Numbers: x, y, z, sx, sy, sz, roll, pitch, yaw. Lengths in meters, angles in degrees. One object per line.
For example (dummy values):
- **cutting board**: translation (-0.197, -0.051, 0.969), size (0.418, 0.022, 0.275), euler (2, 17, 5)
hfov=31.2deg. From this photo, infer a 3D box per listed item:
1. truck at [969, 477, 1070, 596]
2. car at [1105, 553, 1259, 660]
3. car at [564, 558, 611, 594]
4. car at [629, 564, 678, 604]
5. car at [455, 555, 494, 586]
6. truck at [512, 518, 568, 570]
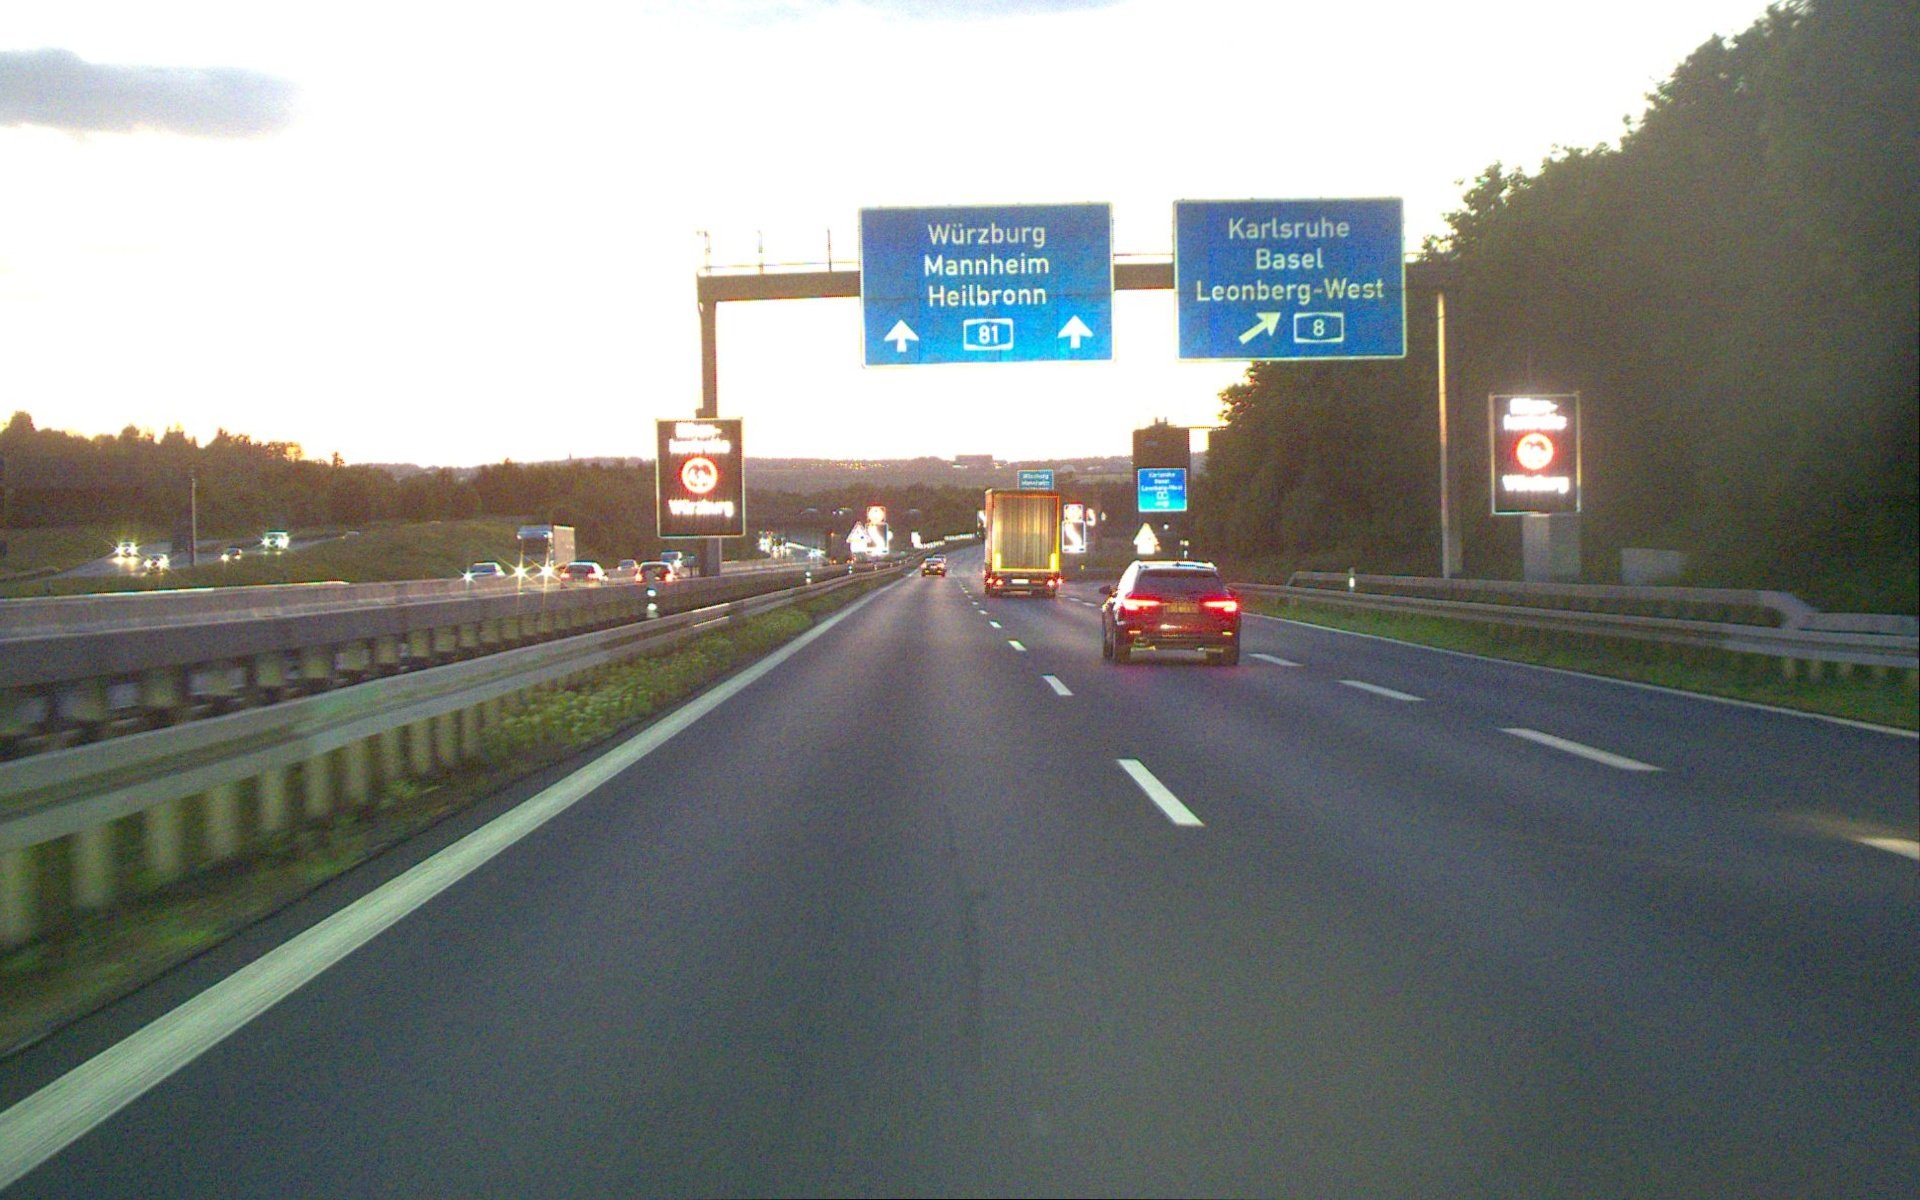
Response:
- **truck**: translation (2.197, -2.380, 131.357), size (3.509, 4.286, 9.892), euler (-1, 0, -1)
- **car**: translation (3.153, 0.069, 49.514), size (1.915, 1.437, 4.000), euler (-1, 0, 0)
- **car**: translation (-16.445, -1.075, 151.869), size (1.638, 1.541, 3.395), euler (-1, 0, 0)
- **car**: translation (-12.799, -0.675, 143.744), size (1.713, 1.600, 3.722), euler (-1, 0, 0)
- **car**: translation (-27.168, -1.683, 192.346), size (1.682, 1.700, 3.752), euler (0, 1, 0)
- **truck**: translation (-30.083, -4.021, 246.287), size (3.309, 3.607, 5.498), euler (-1, 0, -1)
